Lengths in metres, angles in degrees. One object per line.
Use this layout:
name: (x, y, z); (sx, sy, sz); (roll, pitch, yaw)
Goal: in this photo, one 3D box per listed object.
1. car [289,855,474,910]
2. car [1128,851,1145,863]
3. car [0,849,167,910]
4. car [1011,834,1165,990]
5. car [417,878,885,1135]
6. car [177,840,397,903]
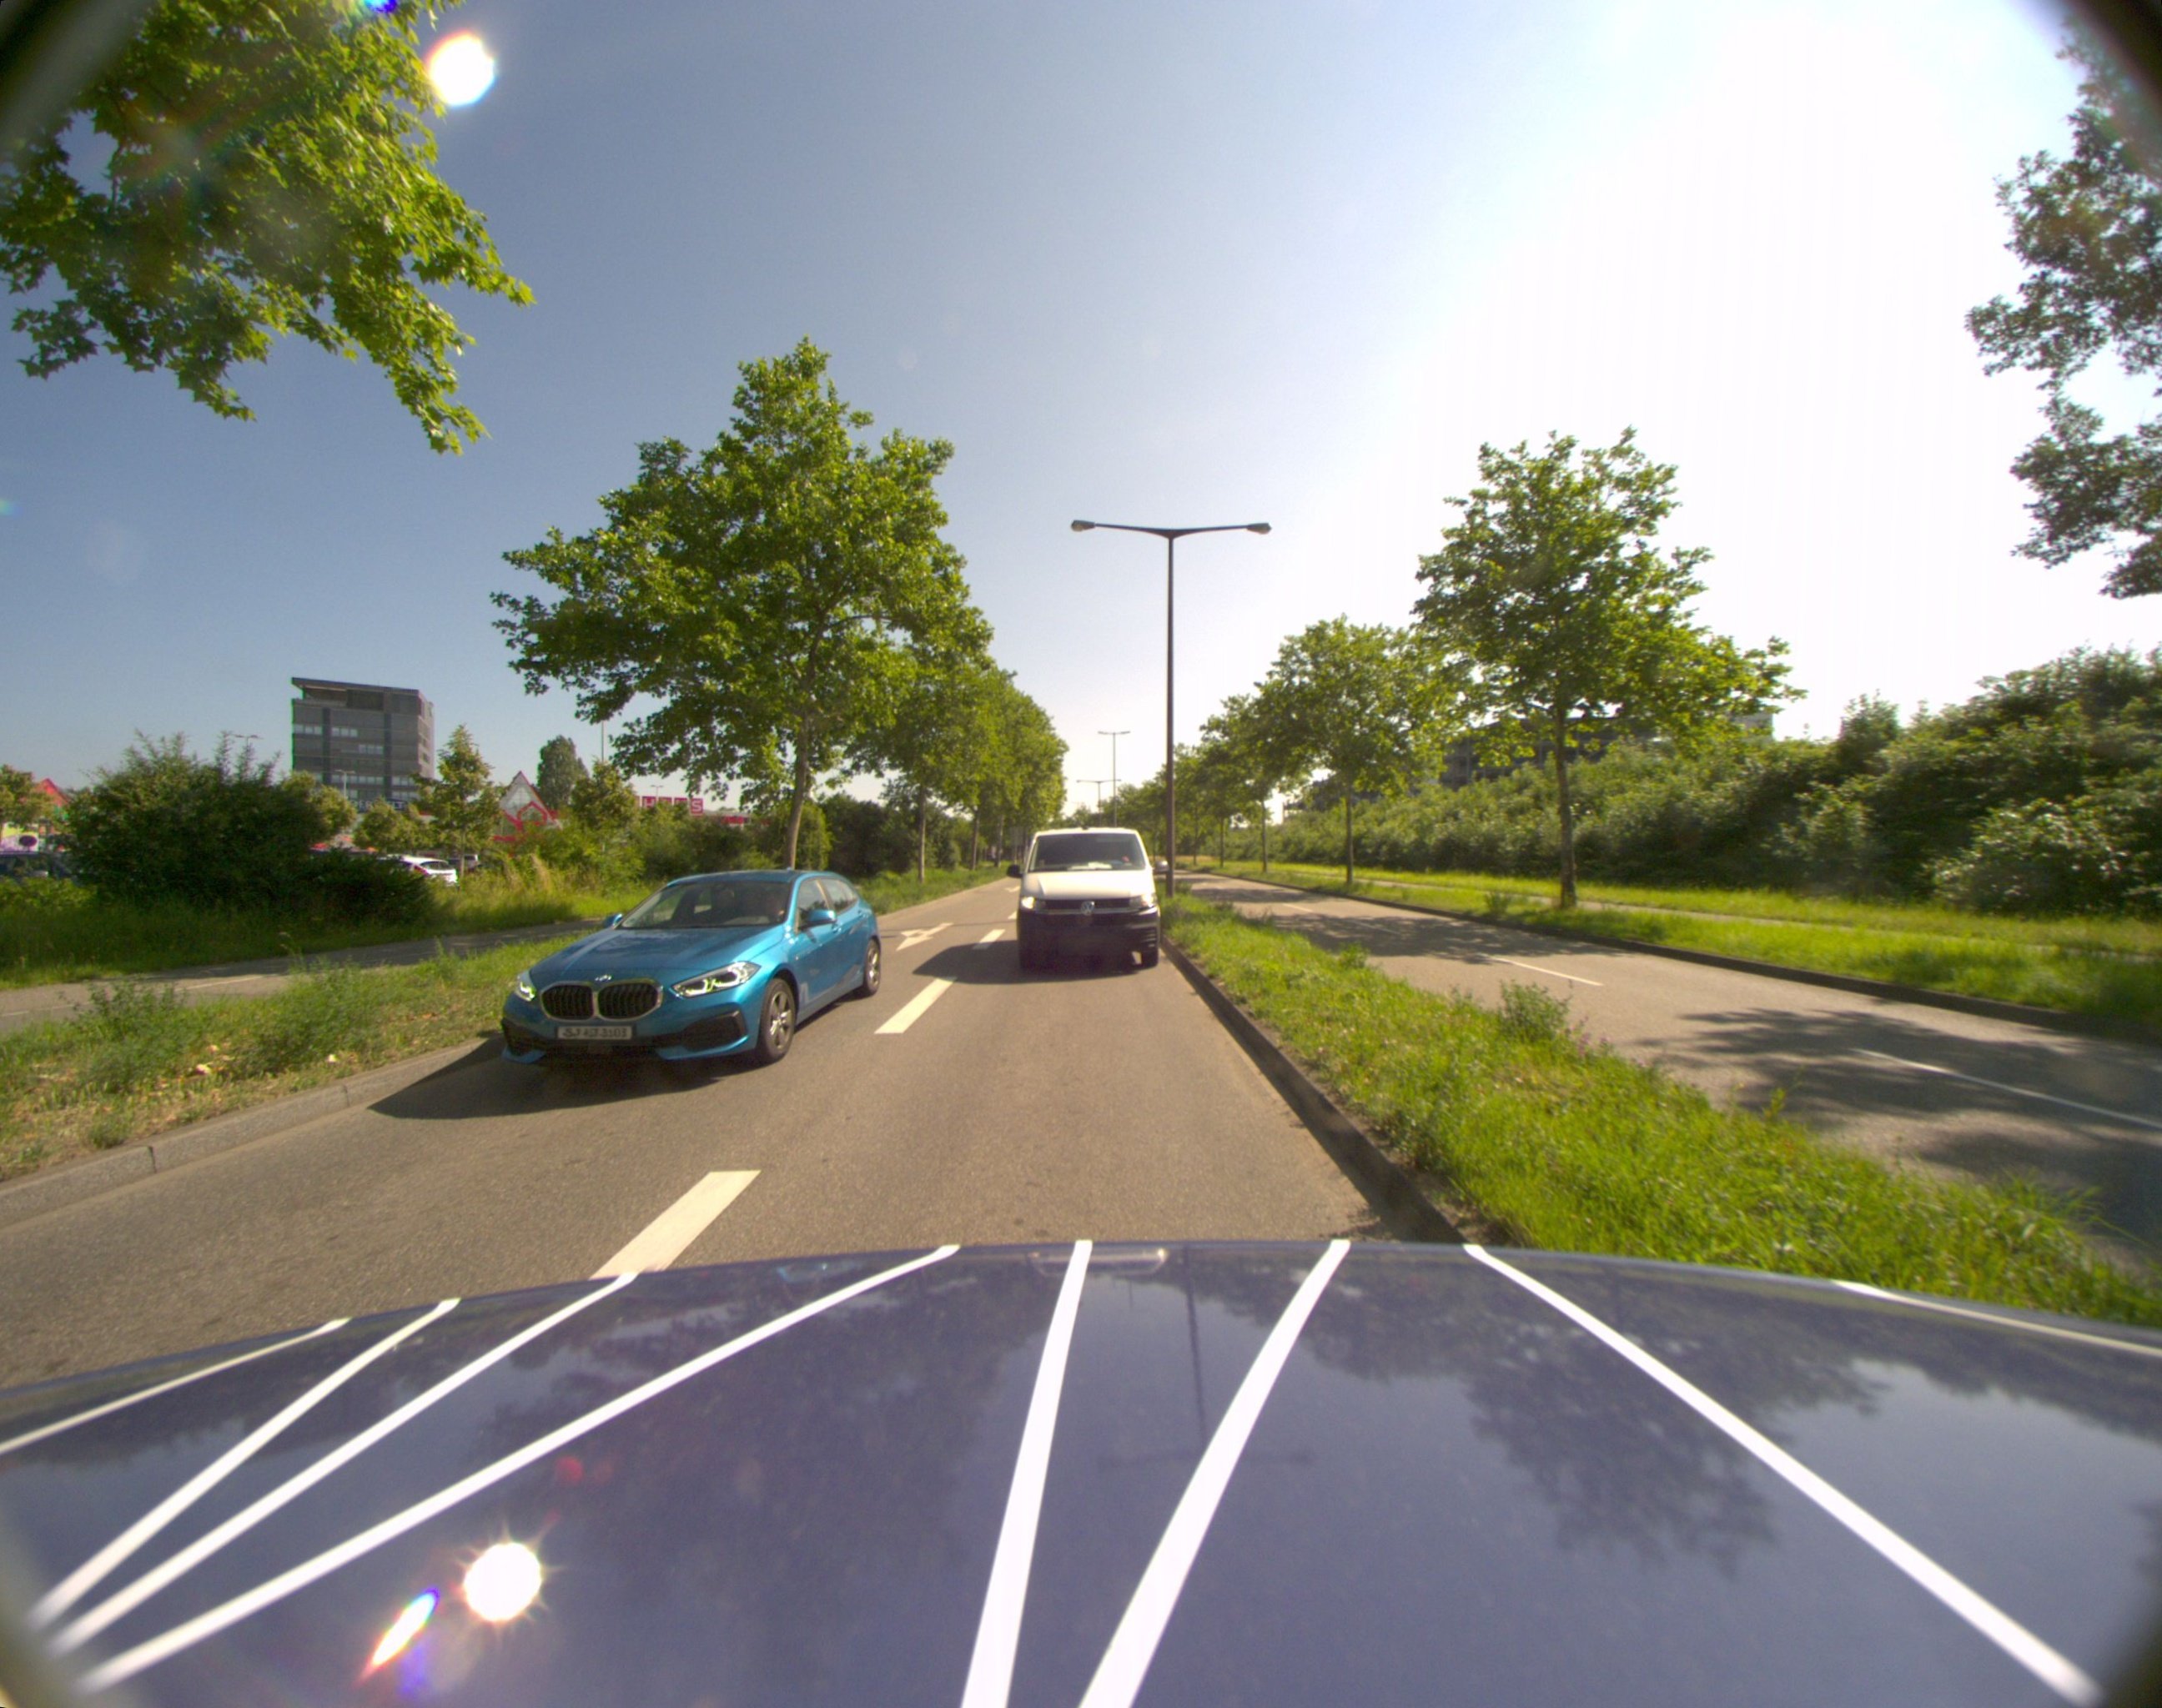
car: (-22.693, 0.890, 24.799); (4.083, 1.582, 1.880); (-2, 1, -4)
car: (7.404, 0.398, 101.309); (1.704, 1.499, 3.999); (0, 0, -4)
car: (-23.299, 0.579, 17.122); (3.527, 1.240, 1.613); (-2, 1, 4)
car: (0.036, 0.691, 11.725); (1.872, 1.889, 4.880); (0, 1, -1)
car: (-3.177, 1.006, 6.759); (1.872, 1.412, 4.129); (0, 1, -1)
car: (-22.614, 0.475, 21.807); (4.083, 1.582, 1.880); (-2, 1, -4)
